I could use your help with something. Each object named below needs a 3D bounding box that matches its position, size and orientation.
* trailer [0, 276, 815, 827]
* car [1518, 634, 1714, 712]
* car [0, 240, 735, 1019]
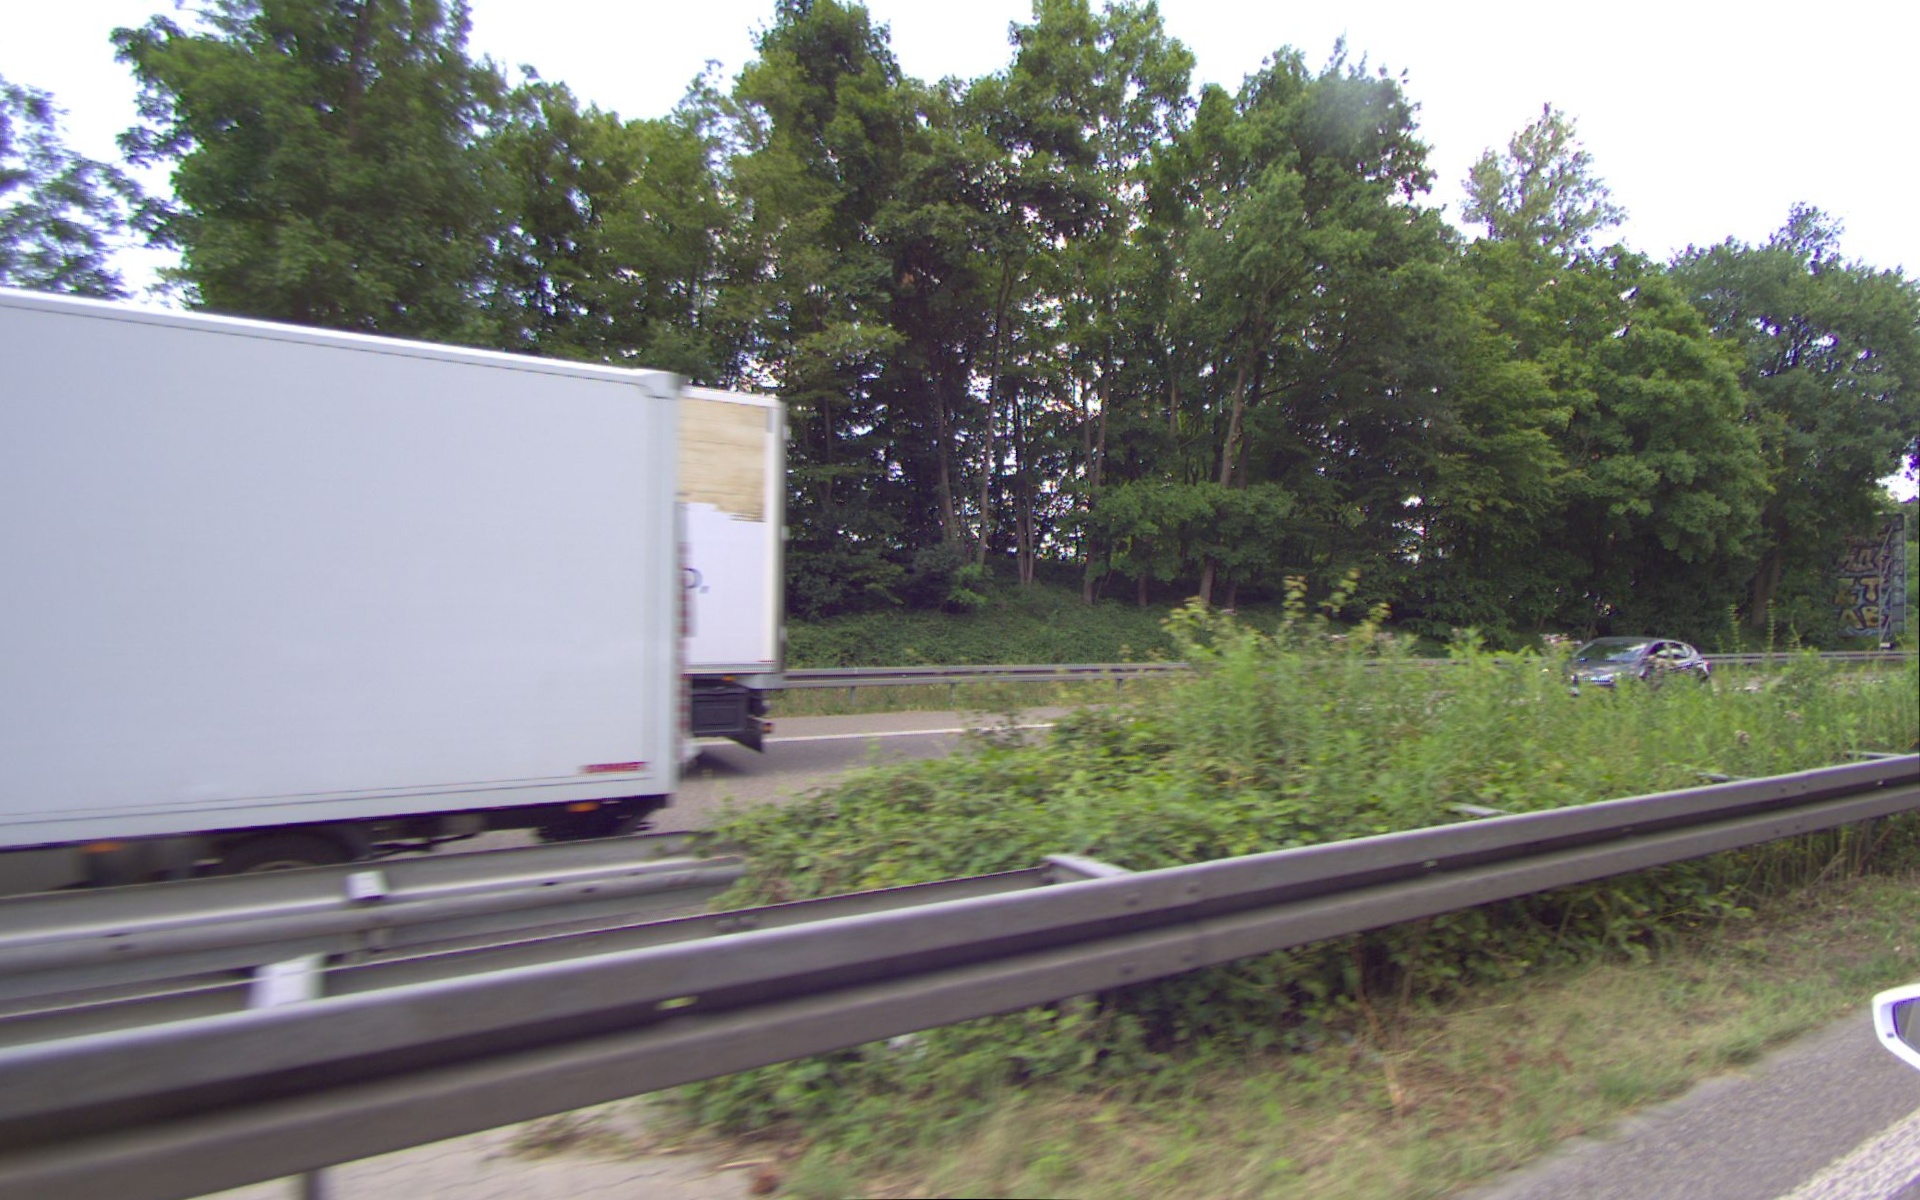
[{"bbox_3d":[-6.557,-0.316,9.539,9.853,4.095,3.046,1,-1,-29],"label":"trailer"},{"bbox_3d":[14.049,1.481,21.449,4.417,1.492,1.726,1,-1,-30],"label":"car"},{"bbox_3d":[-4.977,0.134,4.994,7.200,3.275,2.278,1,-1,-30],"label":"car"}]
